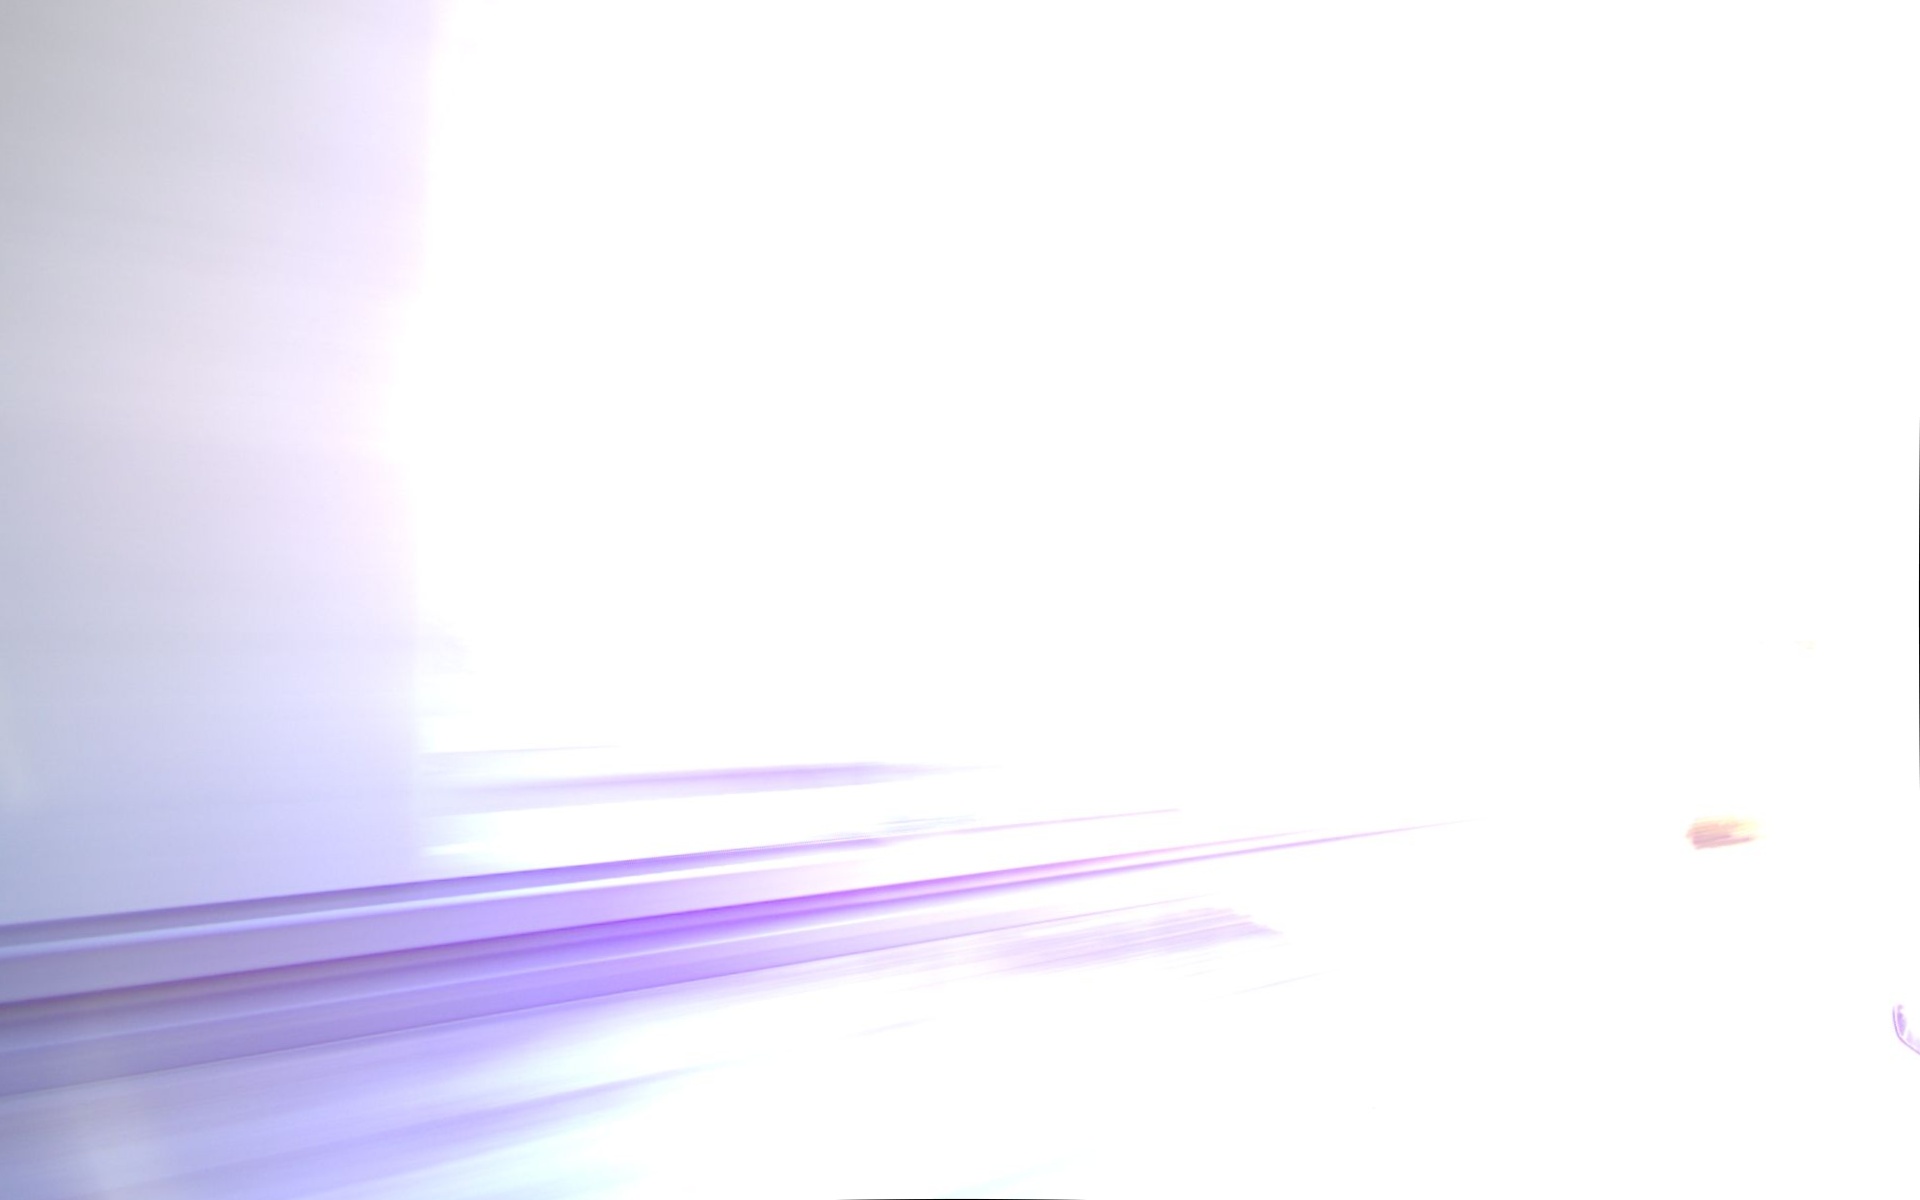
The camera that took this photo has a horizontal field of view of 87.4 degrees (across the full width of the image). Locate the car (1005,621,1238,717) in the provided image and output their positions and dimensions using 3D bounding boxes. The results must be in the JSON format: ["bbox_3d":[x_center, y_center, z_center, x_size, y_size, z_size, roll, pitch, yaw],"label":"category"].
[{"bbox_3d":[3.447,1.410,21.132,4.877,1.829,1.732,2,-3,-30],"label":"car"}]

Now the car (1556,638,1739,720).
[{"bbox_3d":[16.064,1.780,23.422,4.585,1.741,1.732,2,-3,-30],"label":"car"}]

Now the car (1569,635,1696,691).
[{"bbox_3d":[23.018,2.127,34.317,5.031,1.786,1.731,2,-3,-32],"label":"car"}]
